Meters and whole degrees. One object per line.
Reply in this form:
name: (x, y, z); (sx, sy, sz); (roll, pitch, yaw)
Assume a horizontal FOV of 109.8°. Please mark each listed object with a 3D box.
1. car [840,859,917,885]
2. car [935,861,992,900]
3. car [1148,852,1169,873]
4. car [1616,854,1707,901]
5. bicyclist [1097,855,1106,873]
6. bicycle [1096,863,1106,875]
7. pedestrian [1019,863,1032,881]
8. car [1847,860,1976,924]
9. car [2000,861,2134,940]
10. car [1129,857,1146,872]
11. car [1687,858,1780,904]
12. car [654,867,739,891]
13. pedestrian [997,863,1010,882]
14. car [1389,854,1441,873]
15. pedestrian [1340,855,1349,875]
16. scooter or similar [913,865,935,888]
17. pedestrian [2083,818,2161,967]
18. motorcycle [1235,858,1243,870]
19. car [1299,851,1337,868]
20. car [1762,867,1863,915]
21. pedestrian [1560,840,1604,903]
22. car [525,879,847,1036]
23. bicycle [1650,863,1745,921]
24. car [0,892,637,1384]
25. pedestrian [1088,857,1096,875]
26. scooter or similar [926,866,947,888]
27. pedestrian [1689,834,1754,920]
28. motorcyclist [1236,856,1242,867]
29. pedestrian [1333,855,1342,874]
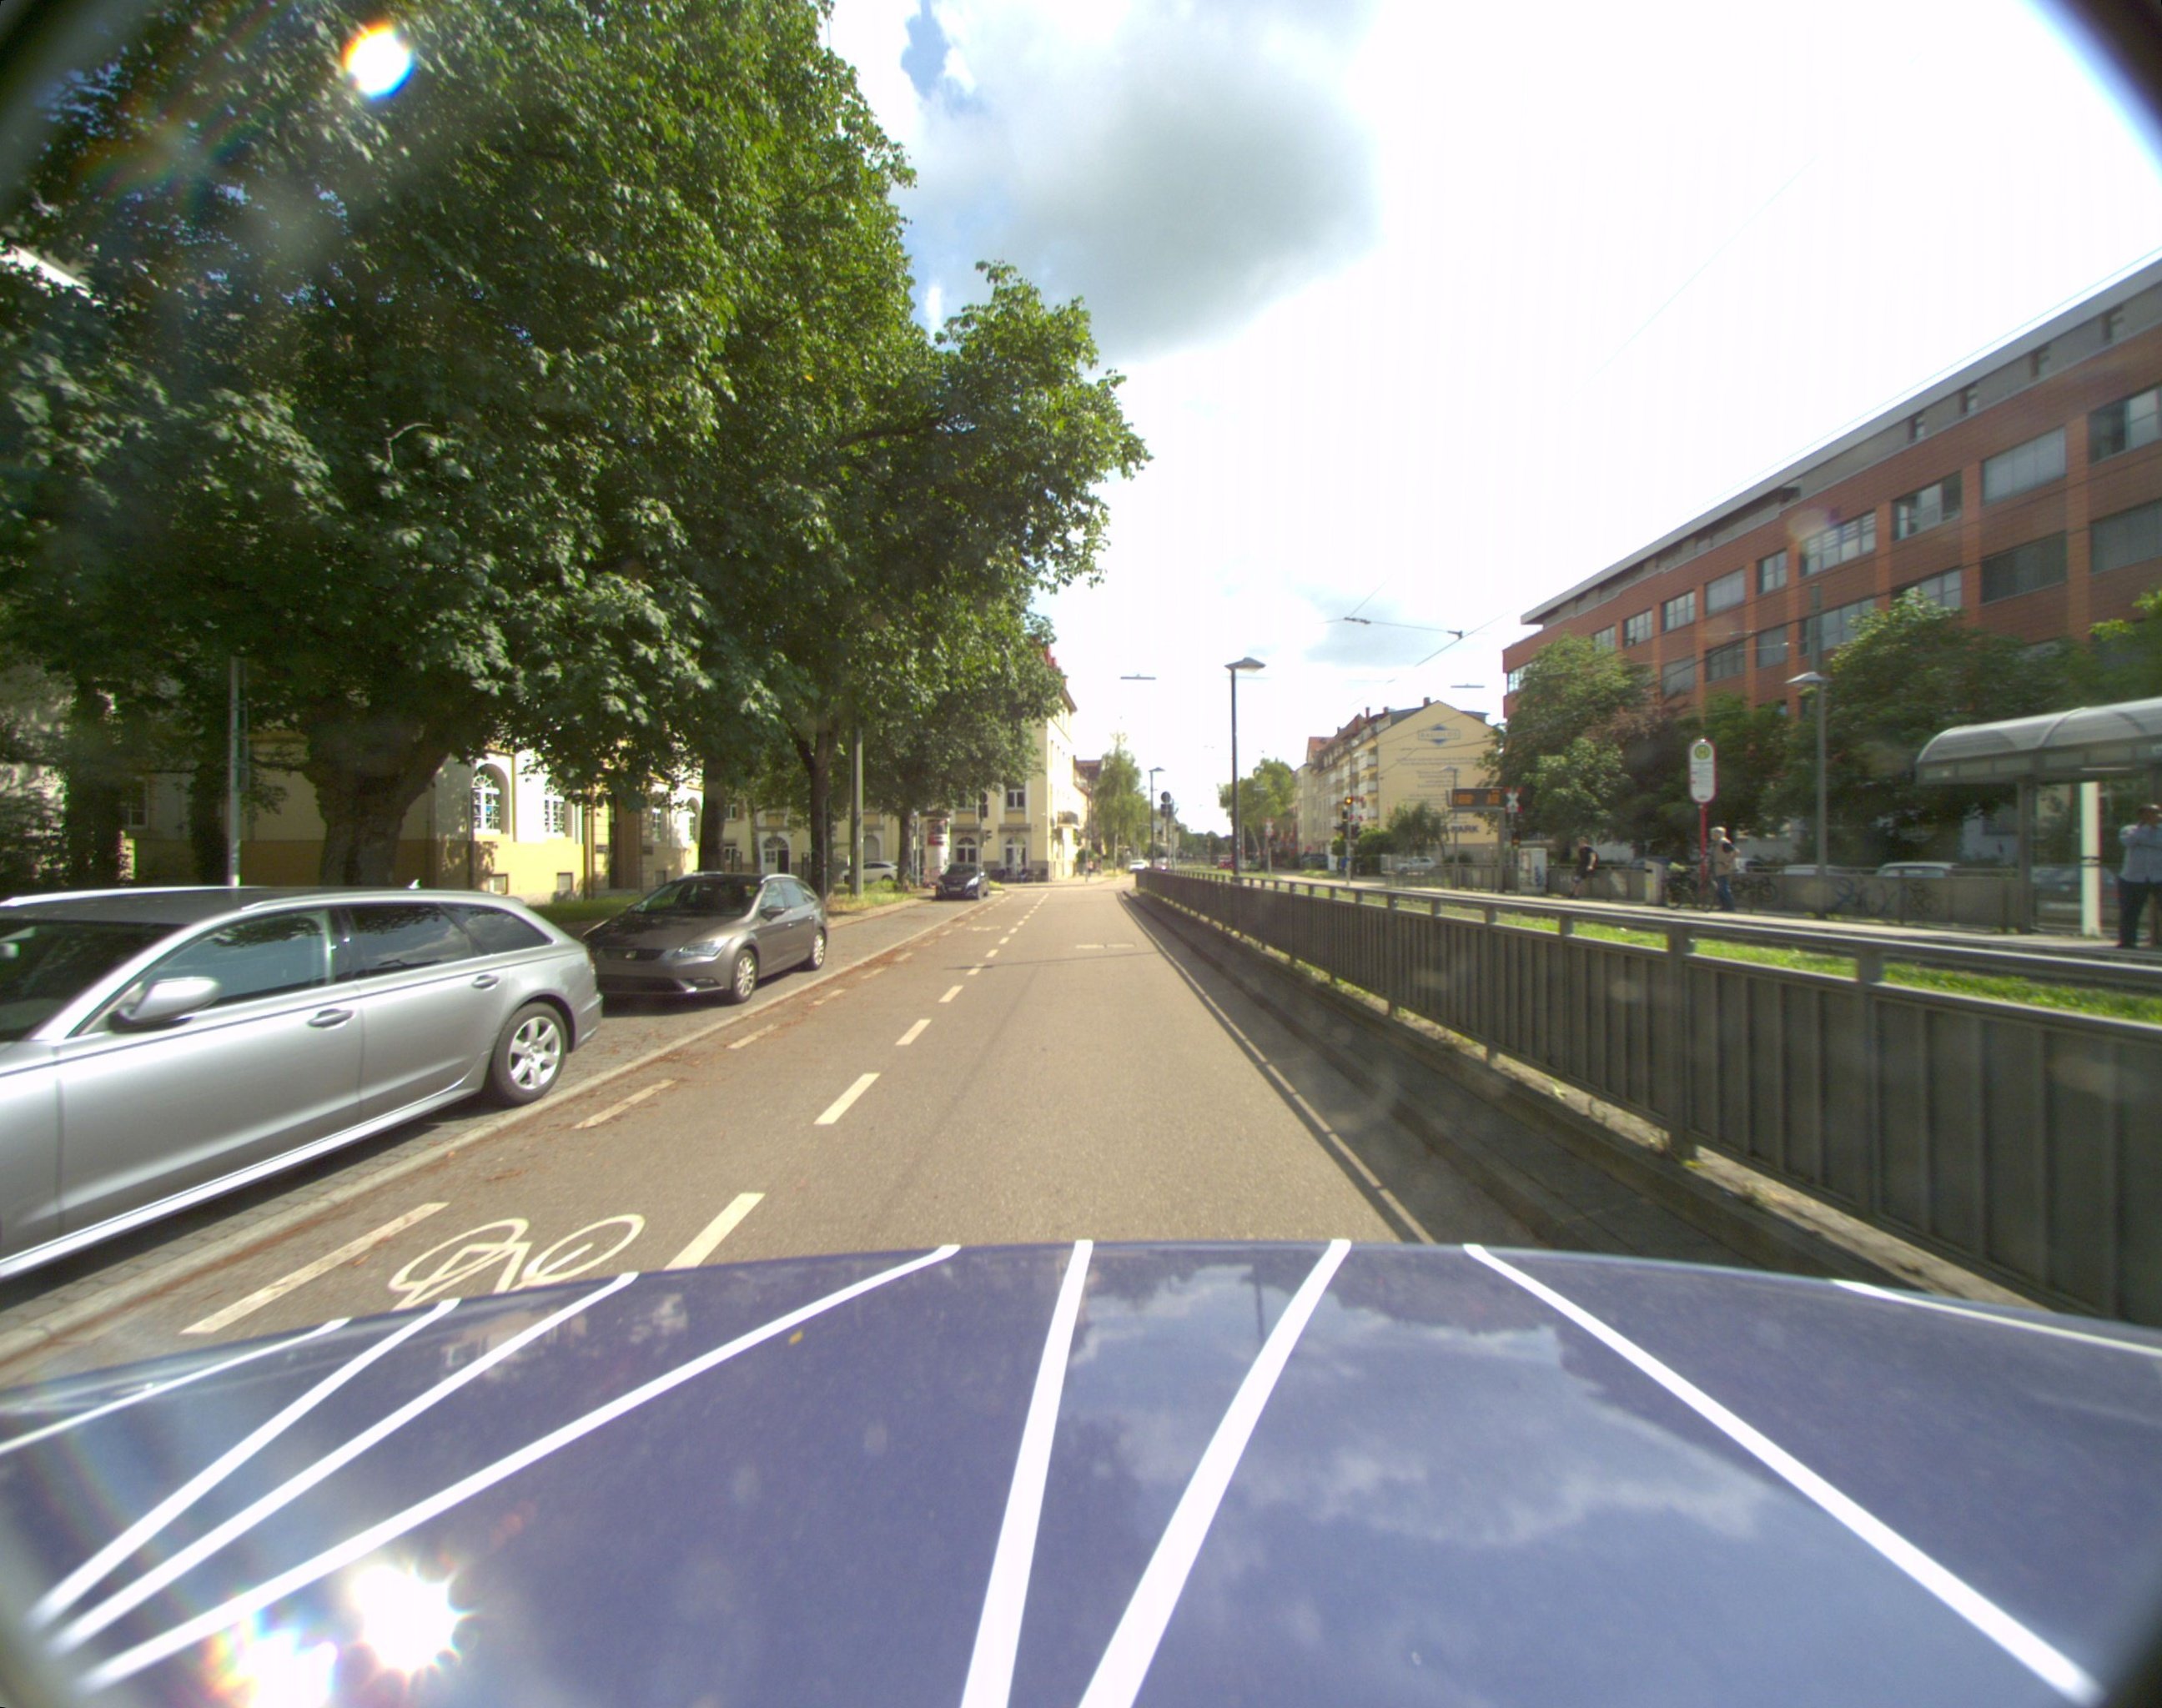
car: (-13.988, 1.239, 52.579); (4.828, 1.646, 1.858); (-1, 2, 10)
car: (-4.692, 1.036, 30.845); (1.689, 1.379, 3.924); (1, 1, 0)
car: (8.151, 0.842, 79.692); (1.997, 2.002, 4.001); (-2, 1, 7)
car: (22.079, 0.829, 28.883); (3.850, 1.649, 1.871); (0, 0, -39)
bicyclist: (1.959, 0.960, 73.780); (0.772, 1.663, 0.951); (-1, -2, -1)
bicycle: (1.970, 1.495, 73.932); (0.772, 1.097, 2.571); (-1, -2, -2)
pedestrian: (-3.952, 1.284, 54.528); (0.804, 1.238, 0.892); (-1, 2, 3)
car: (21.885, 0.943, 20.014); (3.317, 1.412, 1.581); (-3, 1, -30)
car: (21.700, 0.935, 16.710); (3.072, 1.402, 1.668); (-3, 3, -36)
car: (6.572, 1.165, 88.896); (1.848, 1.605, 3.814); (-2, 1, 3)
car: (22.952, 0.894, 26.686); (4.008, 1.487, 1.647); (0, 0, -37)
car: (-23.276, 1.475, 46.080); (1.852, 1.344, 4.188); (-1, 0, 36)
pedestrian: (-5.483, 1.325, 54.080); (0.804, 1.281, 0.759); (-1, 2, 3)
car: (27.873, 0.785, 63.559); (3.608, 1.470, 1.777); (-1, -3, 7)
pedestrian: (22.239, 0.897, 64.146); (0.650, 1.700, 0.481); (-1, 0, 1)
scooter or similar: (-8.376, 1.201, 40.535); (1.105, 1.234, 0.447); (-1, 0, 22)
pedestrian: (12.651, 0.442, 9.101); (0.487, 1.716, 0.623); (-1, 1, -2)
motorcycle: (19.785, 1.286, 95.295); (0.634, 1.395, 2.010); (-2, 1, 3)
car: (29.470, 0.676, 94.510); (4.255, 2.002, 2.002); (-1, 0, 9)
car: (22.248, 1.082, 23.089); (3.258, 1.296, 1.599); (0, 0, -35)
pedestrian: (13.647, 0.455, 20.712); (0.667, 1.689, 0.798); (0, 1, -2)
car: (-4.719, 1.129, 10.030); (1.834, 1.392, 4.656); (3, 0, -1)
bicycle: (12.829, 0.758, 15.884); (0.663, 1.107, 1.878); (1, 0, 9)
car: (-4.539, 1.044, 3.599); (1.833, 1.432, 5.049); (3, 0, 0)
pedestrian: (0.985, 1.086, 68.169); (0.593, 1.622, 0.538); (2, 0, 3)
scooter or similar: (-7.645, 1.210, 40.172); (0.414, 1.171, 1.128); (-3, -1, 28)
pedestrian: (13.229, 0.459, 15.703); (0.640, 1.714, 0.798); (0, 1, -2)
motorcyclist: (19.784, 0.895, 95.247); (0.663, 1.350, 0.693); (-2, 1, 3)
pedestrian: (22.940, 0.901, 67.953); (0.650, 1.700, 0.588); (-1, 0, 1)
